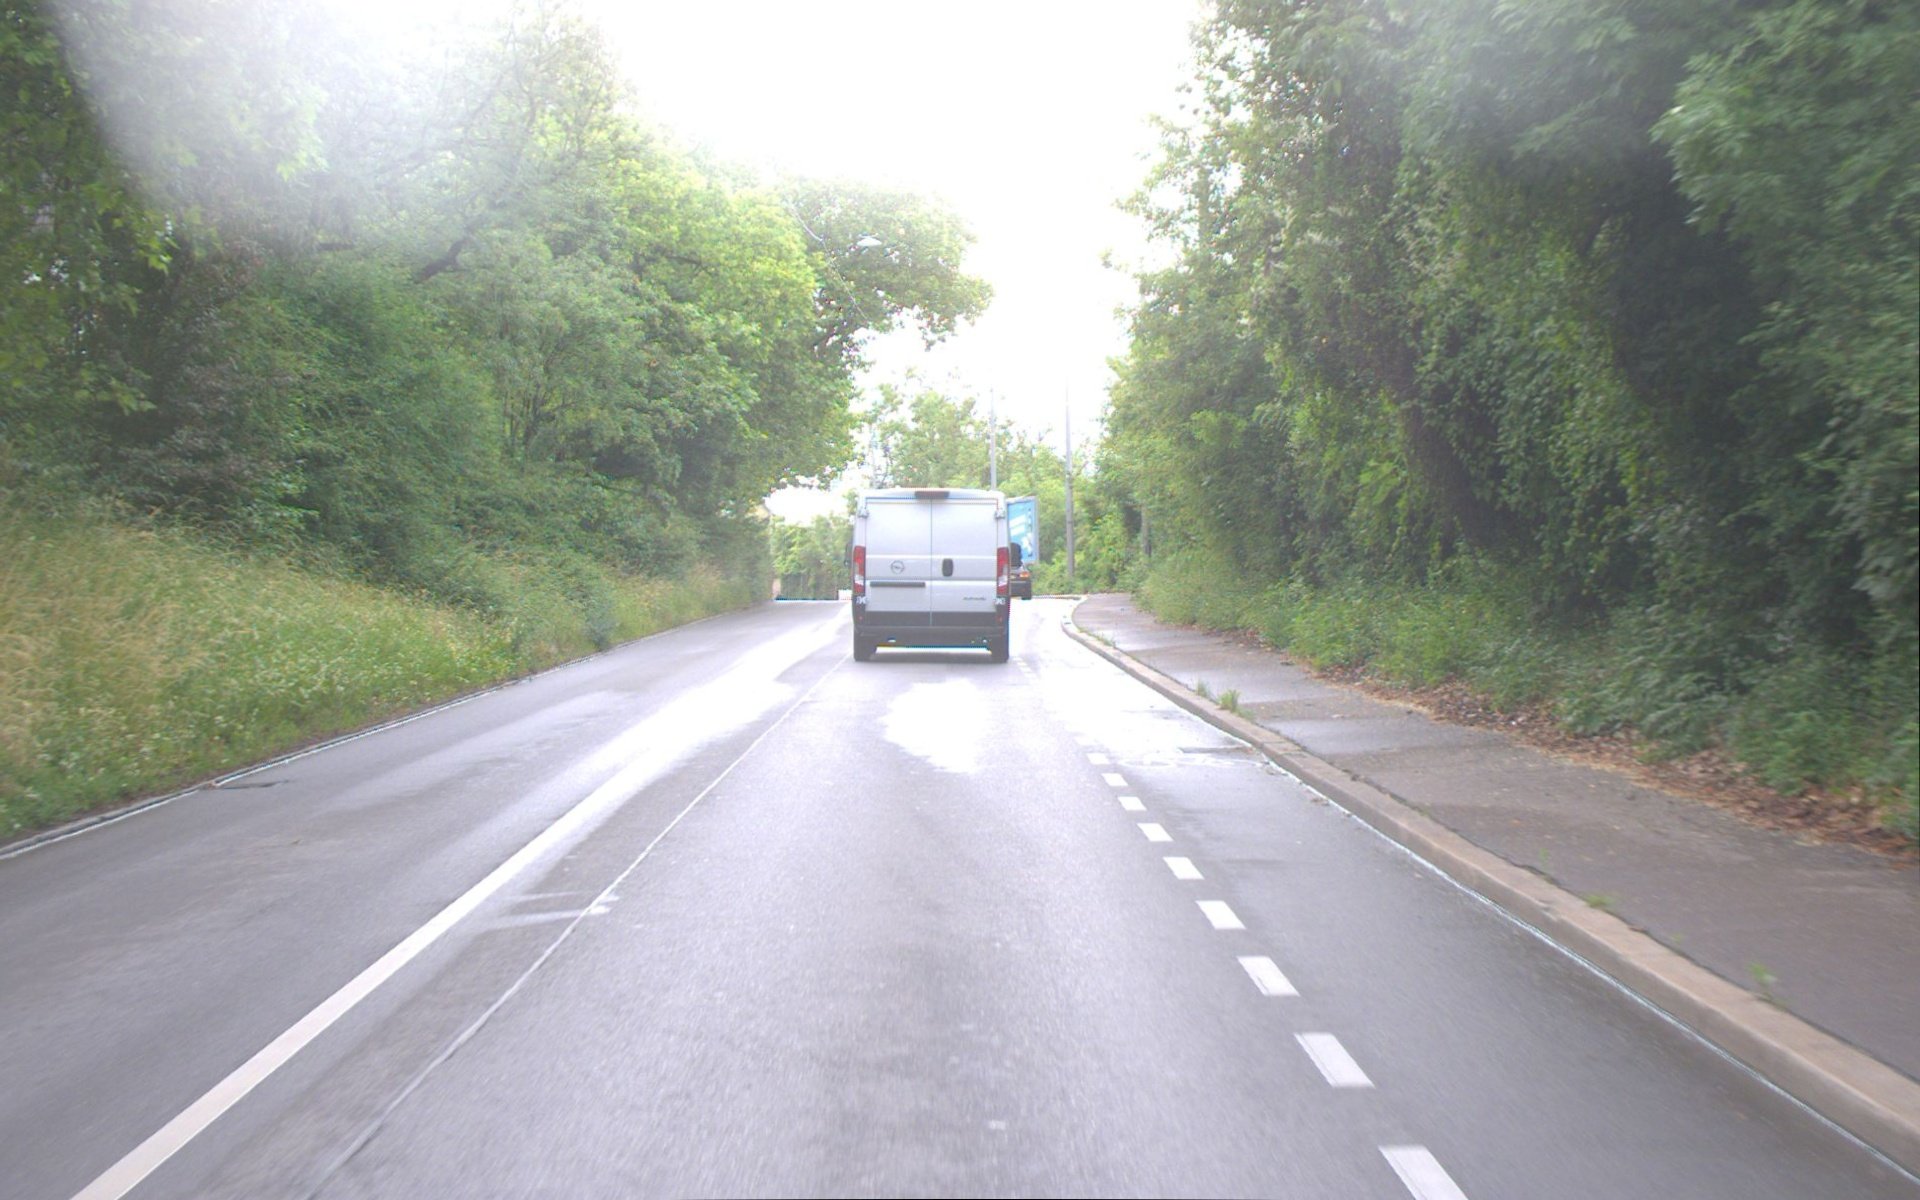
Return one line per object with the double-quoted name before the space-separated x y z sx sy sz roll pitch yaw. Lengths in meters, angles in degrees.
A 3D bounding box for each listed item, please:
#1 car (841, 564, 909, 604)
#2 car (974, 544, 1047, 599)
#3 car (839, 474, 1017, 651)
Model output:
"car" -3.815 -0.718 153.693 2.110 1.705 4.715 1 1 -13
"car" 1.678 -0.970 115.462 2.237 1.798 4.714 1 1 -1
"car" -0.429 -0.512 45.955 2.237 2.205 4.713 1 1 -1
